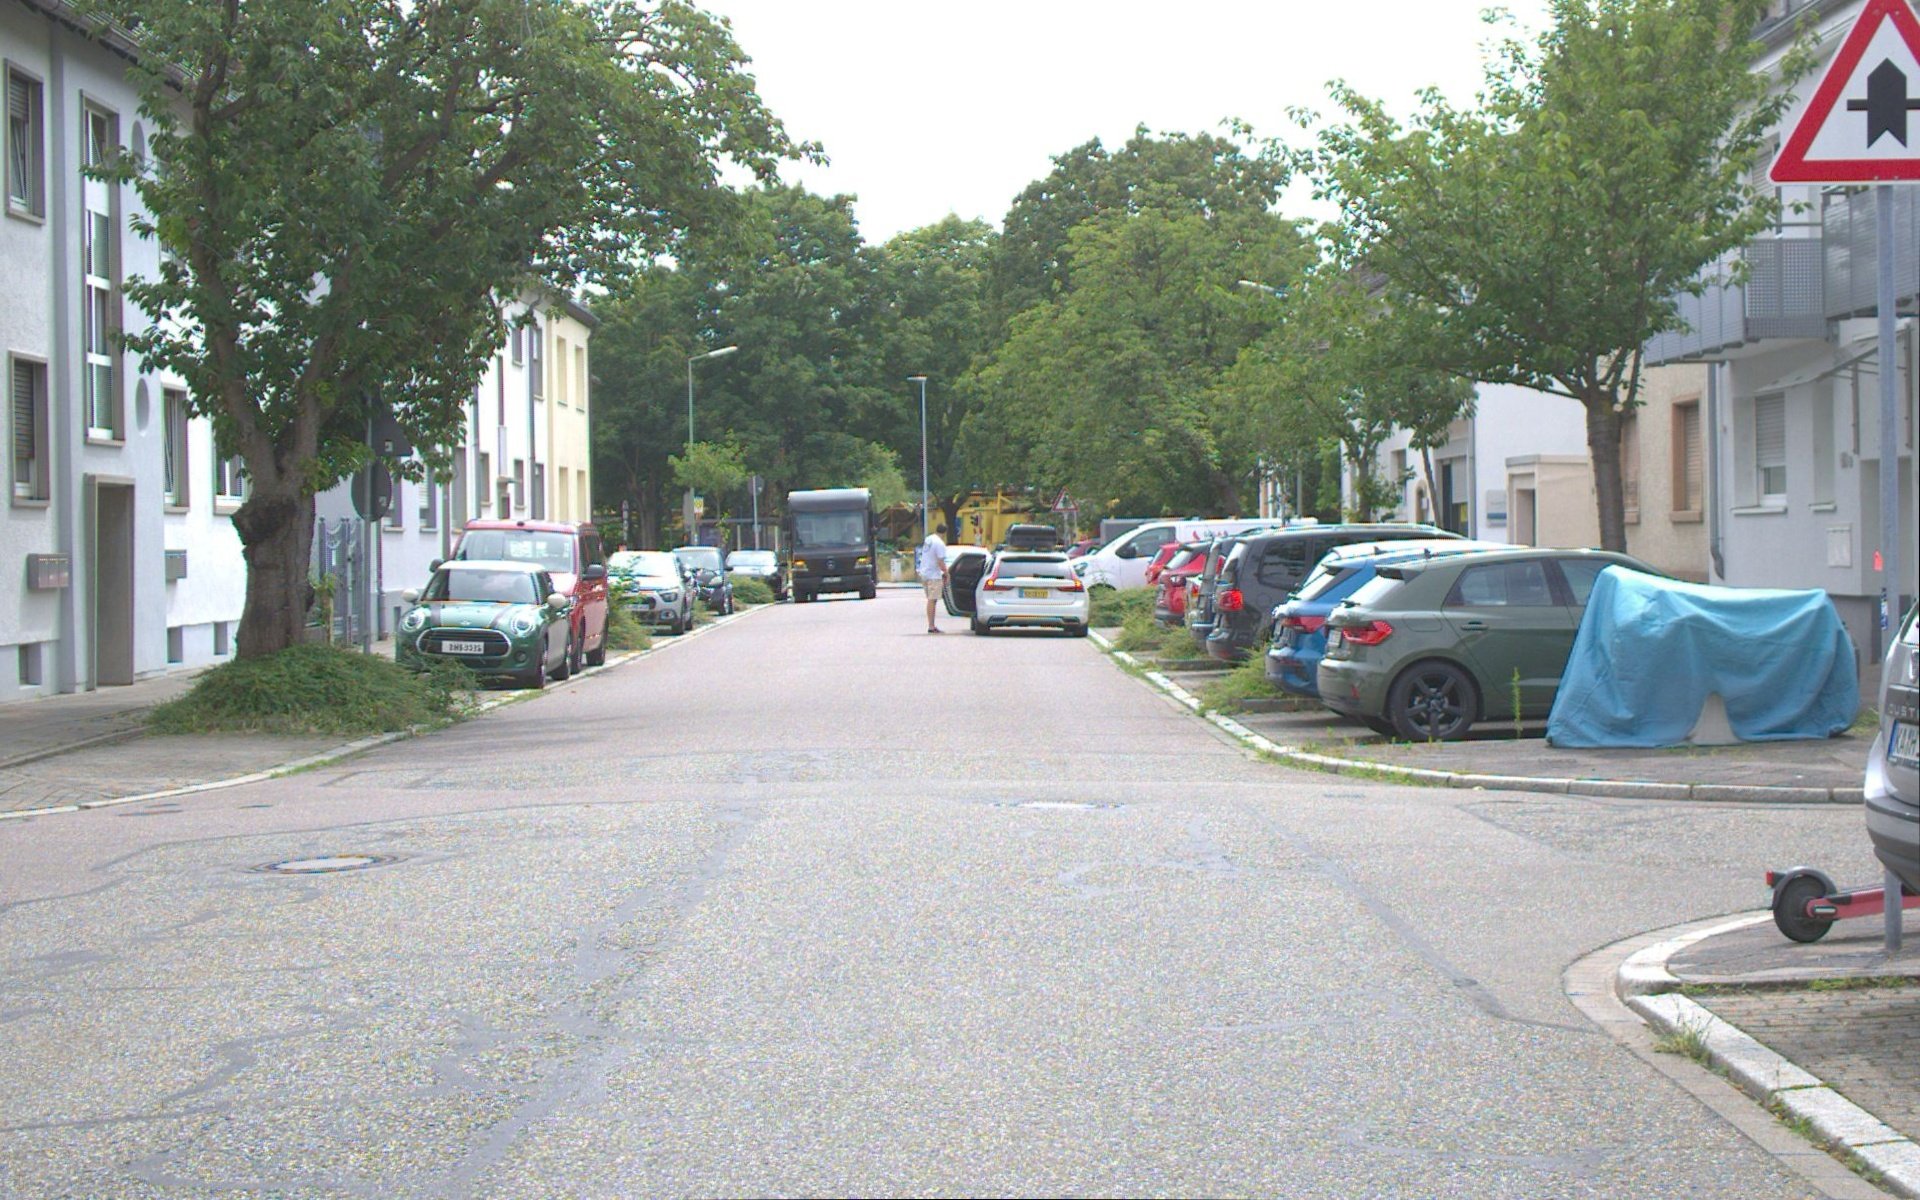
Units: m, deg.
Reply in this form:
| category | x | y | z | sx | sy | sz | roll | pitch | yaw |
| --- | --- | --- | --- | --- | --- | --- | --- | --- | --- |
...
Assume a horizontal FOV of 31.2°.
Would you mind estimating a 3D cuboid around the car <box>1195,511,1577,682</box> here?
| category | x | y | z | sx | sy | sz | roll | pitch | yaw |
| --- | --- | --- | --- | --- | --- | --- | --- | --- | --- |
| car | 4.419 | -0.053 | 36.088 | 3.747 | 1.559 | 1.773 | -3 | 1 | 1 |

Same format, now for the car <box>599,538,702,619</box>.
| category | x | y | z | sx | sy | sz | roll | pitch | yaw |
| --- | --- | --- | --- | --- | --- | --- | --- | --- | --- |
| car | -5.722 | -0.410 | 63.799 | 1.651 | 1.372 | 3.722 | -3 | 1 | -2 |

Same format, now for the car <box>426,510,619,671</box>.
| category | x | y | z | sx | sy | sz | roll | pitch | yaw |
| --- | --- | --- | --- | --- | --- | --- | --- | --- | --- |
| car | -5.785 | -0.156 | 45.917 | 1.993 | 2.007 | 4.521 | -1 | 1 | 0 |

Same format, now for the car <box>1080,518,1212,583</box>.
| category | x | y | z | sx | sy | sz | roll | pitch | yaw |
| --- | --- | --- | --- | --- | --- | --- | --- | --- | --- |
| car | 5.127 | -1.374 | 95.193 | 3.530 | 1.597 | 1.773 | -3 | 1 | 1 |

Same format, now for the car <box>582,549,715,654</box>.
| category | x | y | z | sx | sy | sz | roll | pitch | yaw |
| --- | --- | --- | --- | --- | --- | --- | --- | --- | --- |
| car | -4.680 | -0.003 | 52.066 | 1.651 | 1.456 | 3.552 | -3 | 1 | 0 |

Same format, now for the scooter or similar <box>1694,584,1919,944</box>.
| category | x | y | z | sx | sy | sz | roll | pitch | yaw |
| --- | --- | --- | --- | --- | --- | --- | --- | --- | --- |
| scooter or similar | 3.392 | 0.577 | 12.634 | 1.238 | 1.239 | 0.422 | -3 | 1 | -12 |

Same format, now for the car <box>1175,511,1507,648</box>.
| category | x | y | z | sx | sy | sz | roll | pitch | yaw |
| --- | --- | --- | --- | --- | --- | --- | --- | --- | --- |
| car | 4.830 | -0.271 | 43.926 | 3.987 | 1.513 | 1.722 | -3 | 1 | 0 |

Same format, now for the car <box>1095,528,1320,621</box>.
| category | x | y | z | sx | sy | sz | roll | pitch | yaw |
| --- | --- | --- | --- | --- | --- | --- | --- | --- | --- |
| car | 4.560 | -0.485 | 63.819 | 3.987 | 1.513 | 1.722 | -3 | 1 | 0 |

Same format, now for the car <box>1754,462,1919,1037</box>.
| category | x | y | z | sx | sy | sz | roll | pitch | yaw |
| --- | --- | --- | --- | --- | --- | --- | --- | --- | --- |
| car | 4.607 | 0.320 | 10.224 | 3.923 | 1.627 | 1.868 | -3 | 1 | -5 |

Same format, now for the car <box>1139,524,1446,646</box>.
| category | x | y | z | sx | sy | sz | roll | pitch | yaw |
| --- | --- | --- | --- | --- | --- | --- | --- | --- | --- |
| car | 4.519 | -0.215 | 47.119 | 3.987 | 1.434 | 1.722 | -3 | 1 | 0 |

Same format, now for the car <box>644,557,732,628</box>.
| category | x | y | z | sx | sy | sz | roll | pitch | yaw |
| --- | --- | --- | --- | --- | --- | --- | --- | --- | --- |
| car | -5.419 | -0.173 | 68.862 | 1.538 | 1.297 | 3.722 | -3 | 1 | -2 |

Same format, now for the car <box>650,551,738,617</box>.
| category | x | y | z | sx | sy | sz | roll | pitch | yaw |
| --- | --- | --- | --- | --- | --- | --- | --- | --- | --- |
| car | -5.986 | -0.375 | 77.614 | 1.651 | 1.372 | 3.722 | -3 | 1 | 0 |

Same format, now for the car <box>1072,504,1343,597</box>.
| category | x | y | z | sx | sy | sz | roll | pitch | yaw |
| --- | --- | --- | --- | --- | --- | --- | --- | --- | --- |
| car | 4.731 | -0.952 | 66.120 | 4.975 | 1.513 | 1.769 | -3 | 1 | -1 |

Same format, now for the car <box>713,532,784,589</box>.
| category | x | y | z | sx | sy | sz | roll | pitch | yaw |
| --- | --- | --- | --- | --- | --- | --- | --- | --- | --- |
| car | -5.921 | -1.118 | 96.568 | 1.621 | 1.497 | 4.000 | -3 | 1 | 1 |

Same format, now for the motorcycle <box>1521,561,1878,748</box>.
| category | x | y | z | sx | sy | sz | roll | pitch | yaw |
| --- | --- | --- | --- | --- | --- | --- | --- | --- | --- |
| motorcycle | 4.997 | 0.355 | 23.321 | 2.193 | 1.206 | 0.940 | -1 | 1 | -2 |

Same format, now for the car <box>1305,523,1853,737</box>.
| category | x | y | z | sx | sy | sz | roll | pitch | yaw |
| --- | --- | --- | --- | --- | --- | --- | --- | --- | --- |
| car | 4.556 | 0.202 | 25.716 | 3.747 | 1.361 | 1.773 | -3 | 1 | 1 |

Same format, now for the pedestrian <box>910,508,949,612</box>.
| category | x | y | z | sx | sy | sz | roll | pitch | yaw |
| --- | --- | --- | --- | --- | --- | --- | --- | --- | --- |
| pedestrian | -0.509 | -0.665 | 57.208 | 0.522 | 1.698 | 0.444 | -3 | 1 | 4 |

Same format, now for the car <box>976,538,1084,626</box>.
| category | x | y | z | sx | sy | sz | roll | pitch | yaw |
| --- | --- | --- | --- | --- | --- | --- | --- | --- | --- |
| car | 1.175 | -0.321 | 57.740 | 1.687 | 1.349 | 3.826 | -3 | 1 | 1 |

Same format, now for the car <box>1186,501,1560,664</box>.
| category | x | y | z | sx | sy | sz | roll | pitch | yaw |
| --- | --- | --- | --- | --- | --- | --- | --- | --- | --- |
| car | 4.652 | -0.214 | 39.189 | 3.987 | 1.612 | 1.867 | -3 | 1 | 1 |

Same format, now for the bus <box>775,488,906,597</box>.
| category | x | y | z | sx | sy | sz | roll | pitch | yaw |
| --- | --- | --- | --- | --- | --- | --- | --- | --- | --- |
| bus | -3.252 | -1.604 | 95.612 | 3.004 | 2.751 | 8.924 | -3 | 1 | 1 |

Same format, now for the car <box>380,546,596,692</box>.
| category | x | y | z | sx | sy | sz | roll | pitch | yaw |
| --- | --- | --- | --- | --- | --- | --- | --- | --- | --- |
| car | -5.526 | 0.190 | 40.690 | 1.763 | 1.548 | 3.730 | -3 | 1 | 4 |

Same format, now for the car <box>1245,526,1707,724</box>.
| category | x | y | z | sx | sy | sz | roll | pitch | yaw |
| --- | --- | --- | --- | --- | --- | --- | --- | --- | --- |
| car | 4.202 | 0.189 | 28.336 | 3.517 | 1.407 | 1.559 | -3 | 1 | 1 |
